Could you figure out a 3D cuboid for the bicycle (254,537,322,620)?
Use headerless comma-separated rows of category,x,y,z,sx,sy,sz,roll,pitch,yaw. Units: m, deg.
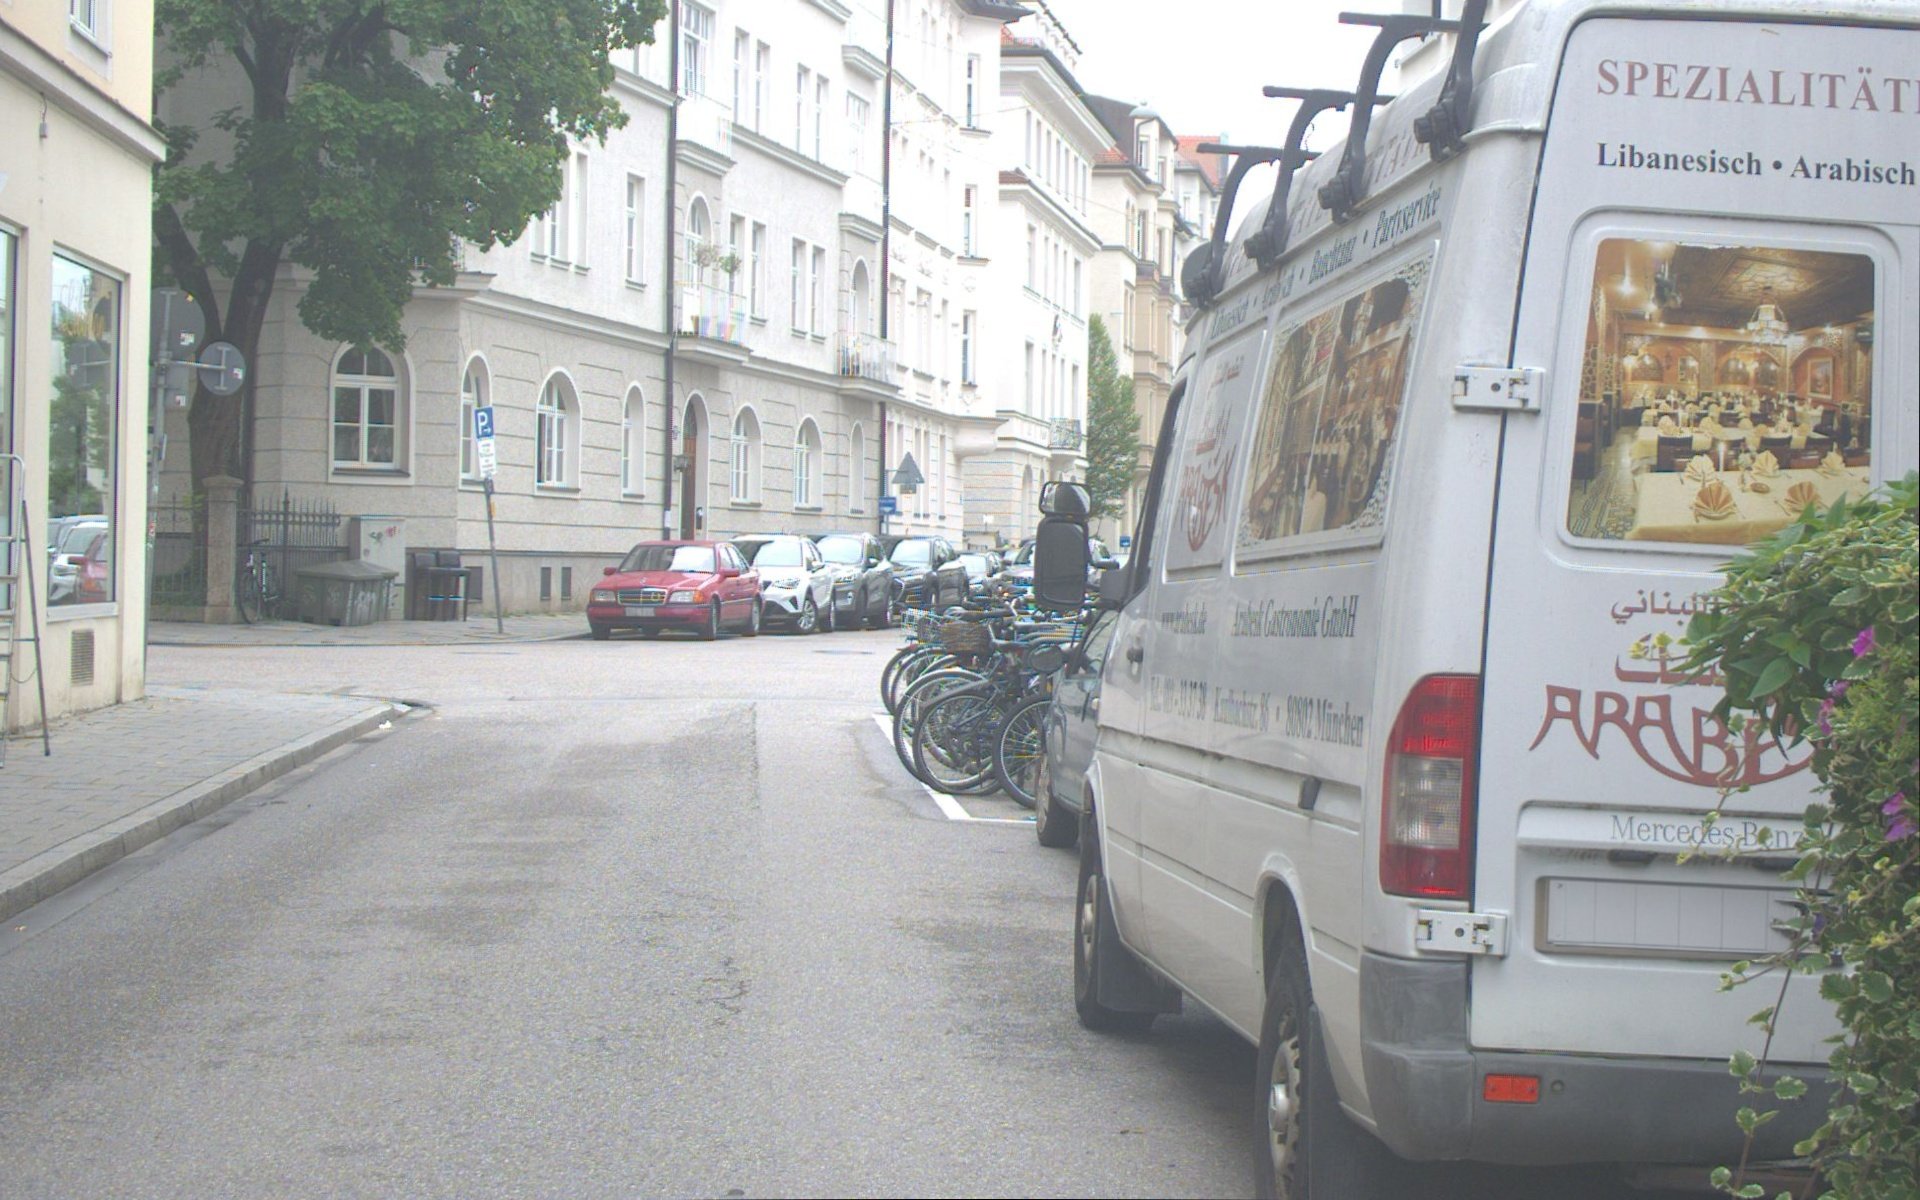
bicycle,-9.168,-0.304,46.948,0.493,1.049,1.827,1,3,2

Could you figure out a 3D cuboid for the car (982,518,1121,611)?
car,1.710,-0.663,62.816,1.958,1.602,4.307,1,1,9

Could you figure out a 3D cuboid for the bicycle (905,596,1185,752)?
bicycle,0.585,0.512,23.990,1.873,1.048,0.564,1,-1,-6

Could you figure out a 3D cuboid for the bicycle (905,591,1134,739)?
bicycle,0.444,0.489,25.948,1.674,1.076,0.336,1,2,-6

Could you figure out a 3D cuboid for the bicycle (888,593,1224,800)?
bicycle,0.555,0.563,20.175,1.873,1.104,0.488,3,2,-5

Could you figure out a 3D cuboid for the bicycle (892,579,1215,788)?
bicycle,0.553,0.499,20.695,1.873,1.200,0.488,1,2,-5

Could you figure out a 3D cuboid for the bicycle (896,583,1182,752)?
bicycle,0.530,0.454,23.282,1.873,1.091,0.440,1,2,-6

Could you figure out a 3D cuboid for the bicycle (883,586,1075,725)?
bicycle,0.153,0.442,27.584,1.450,1.066,0.463,1,1,-10

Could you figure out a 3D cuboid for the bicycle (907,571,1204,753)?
bicycle,0.623,0.406,22.744,1.893,1.166,0.566,0,1,-6

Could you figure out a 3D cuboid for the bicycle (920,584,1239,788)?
bicycle,0.736,0.529,21.388,1.873,1.153,0.565,3,2,-5

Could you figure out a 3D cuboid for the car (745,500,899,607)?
car,-2.297,-0.795,58.131,1.943,1.696,3.999,2,1,7

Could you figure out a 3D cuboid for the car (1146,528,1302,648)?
car,4.023,-0.205,51.826,1.821,1.630,4.287,3,1,10

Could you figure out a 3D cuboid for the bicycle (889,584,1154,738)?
bicycle,0.444,0.444,25.121,1.873,1.076,0.408,1,2,-6

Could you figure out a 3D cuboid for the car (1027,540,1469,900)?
car,1.237,0.472,16.088,1.580,1.459,3.552,1,1,-3

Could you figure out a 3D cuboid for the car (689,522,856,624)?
car,-2.862,-0.432,53.412,1.994,1.468,4.218,1,1,5

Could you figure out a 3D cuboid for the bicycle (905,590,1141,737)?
bicycle,0.476,0.484,26.364,1.740,1.076,0.452,1,2,-6

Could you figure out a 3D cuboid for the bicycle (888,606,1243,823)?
bicycle,0.579,0.634,19.174,1.873,1.076,0.488,3,2,-5

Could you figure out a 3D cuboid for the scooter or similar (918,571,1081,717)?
scooter or similar,0.336,0.368,29.401,1.352,1.206,0.417,1,1,-1

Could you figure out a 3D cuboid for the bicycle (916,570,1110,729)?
bicycle,0.419,0.390,27.144,1.450,1.203,0.395,1,1,-10

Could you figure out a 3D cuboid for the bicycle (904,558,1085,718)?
bicycle,0.282,0.312,28.599,1.456,1.281,0.445,2,1,-2

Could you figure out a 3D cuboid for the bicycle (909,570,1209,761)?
bicycle,0.627,0.413,22.114,1.873,1.200,0.580,0,1,-5

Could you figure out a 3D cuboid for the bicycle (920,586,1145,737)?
bicycle,0.536,0.457,25.566,1.612,1.076,0.378,1,2,-6

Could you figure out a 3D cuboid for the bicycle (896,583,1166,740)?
bicycle,0.506,0.442,24.684,1.873,1.076,0.402,1,2,-6

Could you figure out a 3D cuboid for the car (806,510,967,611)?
car,-1.312,-0.737,63.448,1.994,1.732,4.520,2,1,11

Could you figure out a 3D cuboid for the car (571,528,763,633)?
car,-4.063,-0.297,48.286,1.731,1.373,4.225,1,1,9

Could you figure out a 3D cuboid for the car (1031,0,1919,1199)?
car,1.470,0.113,8.912,1.920,2.497,5.998,2,1,-4
